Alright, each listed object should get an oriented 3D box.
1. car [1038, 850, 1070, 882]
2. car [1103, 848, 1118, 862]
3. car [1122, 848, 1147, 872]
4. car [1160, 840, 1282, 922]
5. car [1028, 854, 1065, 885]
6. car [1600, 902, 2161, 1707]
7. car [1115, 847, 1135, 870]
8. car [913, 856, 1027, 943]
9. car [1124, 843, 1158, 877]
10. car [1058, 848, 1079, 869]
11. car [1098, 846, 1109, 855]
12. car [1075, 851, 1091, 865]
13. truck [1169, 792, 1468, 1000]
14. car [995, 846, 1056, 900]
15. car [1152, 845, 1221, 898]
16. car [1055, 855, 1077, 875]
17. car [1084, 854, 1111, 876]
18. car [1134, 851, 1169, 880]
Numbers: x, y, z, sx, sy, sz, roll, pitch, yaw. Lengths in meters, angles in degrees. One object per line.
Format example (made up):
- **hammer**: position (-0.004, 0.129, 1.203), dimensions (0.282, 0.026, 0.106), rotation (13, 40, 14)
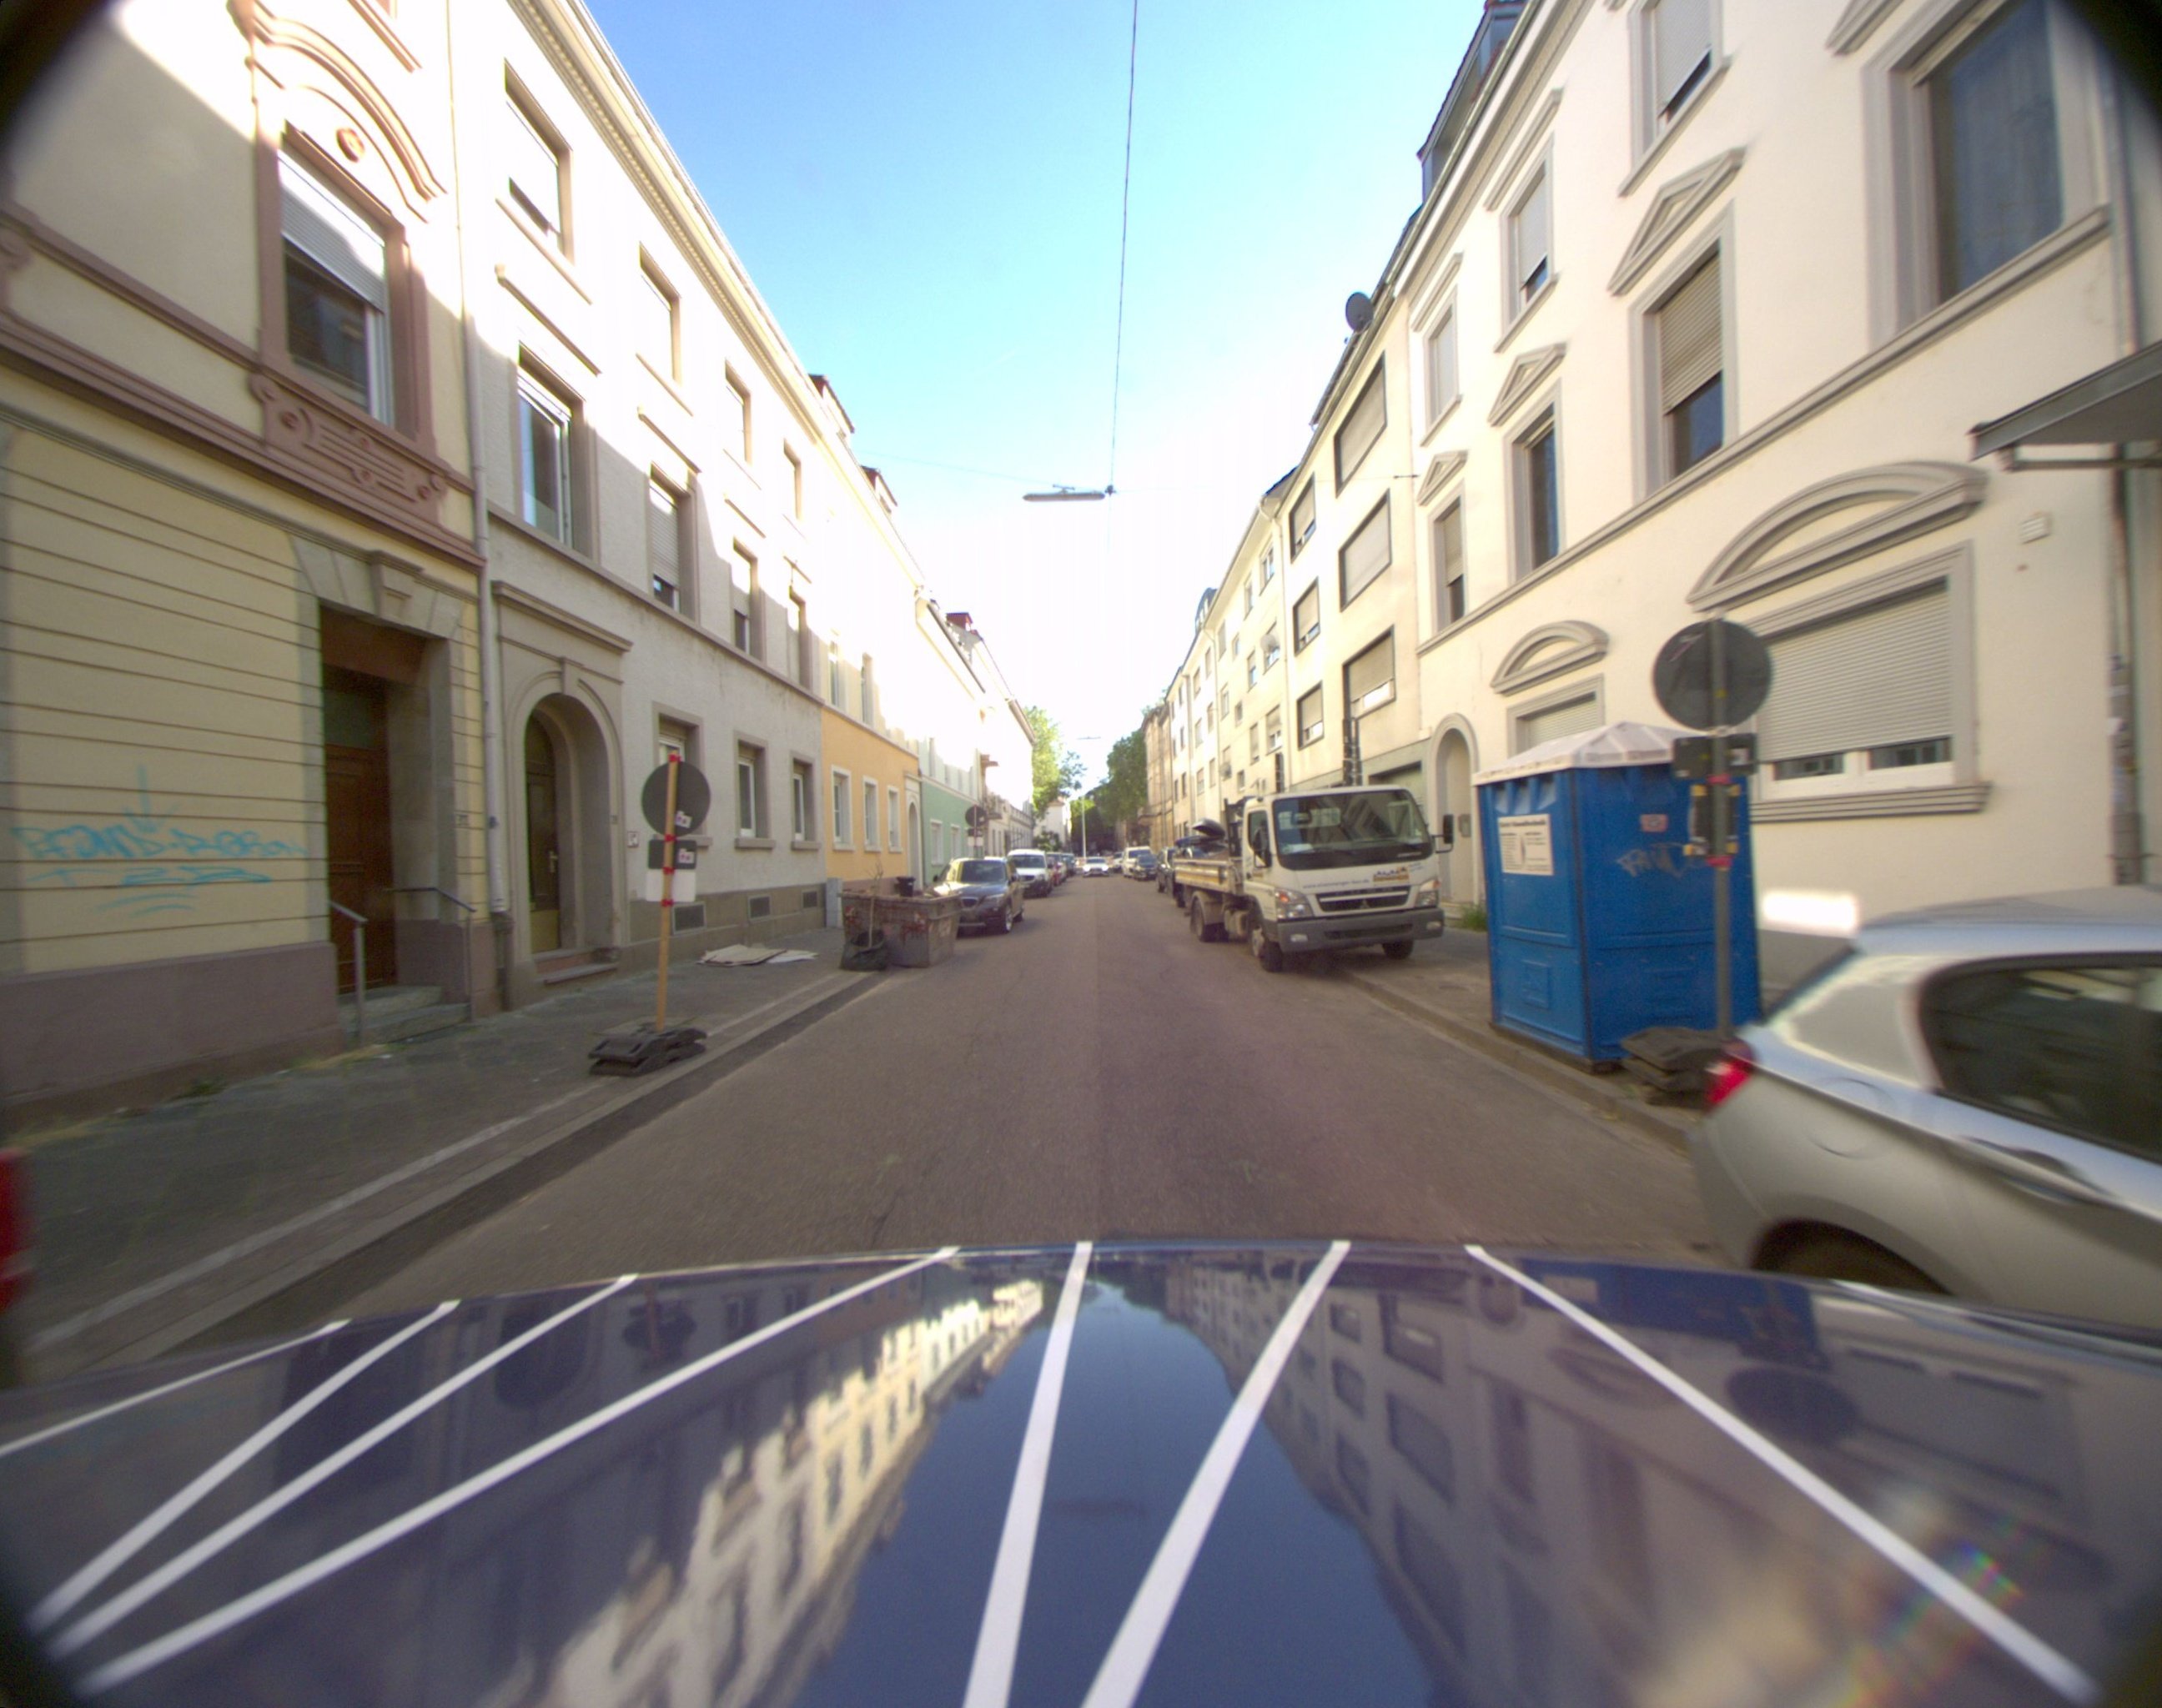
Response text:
- **car**: position (-1.530, 0.653, 44.586), dimensions (1.604, 1.772, 3.760), rotation (-2, 0, 1)
- **car**: position (3.825, 0.167, 98.857), dimensions (1.786, 1.674, 4.021), rotation (-2, 1, 1)
- **car**: position (4.167, 0.406, 59.858), dimensions (1.768, 1.724, 4.835), rotation (-2, 1, 2)
- **car**: position (3.465, 0.598, 19.905), dimensions (1.918, 1.871, 5.183), rotation (0, 1, -4)
- **car**: position (-1.729, 0.790, 38.892), dimensions (1.578, 1.459, 3.870), rotation (-2, -1, 1)
- **car**: position (2.541, 0.914, 0.263), dimensions (1.669, 1.514, 4.488), rotation (0, 0, 0)
- **car**: position (3.970, 0.346, 69.204), dimensions (1.585, 1.971, 4.068), rotation (-2, 1, 2)
- **car**: position (-2.262, 0.877, 16.509), dimensions (1.744, 1.534, 4.051), rotation (-2, 1, 1)
- **car**: position (3.855, 0.327, 49.505), dimensions (1.913, 2.076, 4.696), rotation (-2, 1, 2)
- **car**: position (-1.134, 0.420, 71.586), dimensions (1.786, 1.867, 4.021), rotation (-2, 1, 1)
- **car**: position (4.143, -0.641, 138.548), dimensions (1.985, 1.674, 4.021), rotation (-2, 1, 1)
- **car**: position (0.251, 0.469, 92.665), dimensions (1.857, 1.620, 4.072), rotation (-2, 1, 1)
- **truck**: position (3.026, 0.408, 11.616), dimensions (2.171, 2.295, 6.344), rotation (0, 1, -4)
- **car**: position (-2.085, 0.661, 29.616), dimensions (1.898, 1.875, 4.457), rotation (-2, 1, 1)
- **car**: position (3.797, 0.560, 27.946), dimensions (1.759, 1.760, 4.177), rotation (0, 1, -3)
- **car**: position (-1.149, 0.864, 60.230), dimensions (1.588, 1.409, 3.557), rotation (-2, 1, 1)
- **car**: position (1.177, 0.775, 54.034), dimensions (1.761, 1.399, 4.021), rotation (-2, 1, 1)
- **car**: position (3.918, 0.598, 42.999), dimensions (1.730, 1.484, 4.115), rotation (-3, 0, 3)
